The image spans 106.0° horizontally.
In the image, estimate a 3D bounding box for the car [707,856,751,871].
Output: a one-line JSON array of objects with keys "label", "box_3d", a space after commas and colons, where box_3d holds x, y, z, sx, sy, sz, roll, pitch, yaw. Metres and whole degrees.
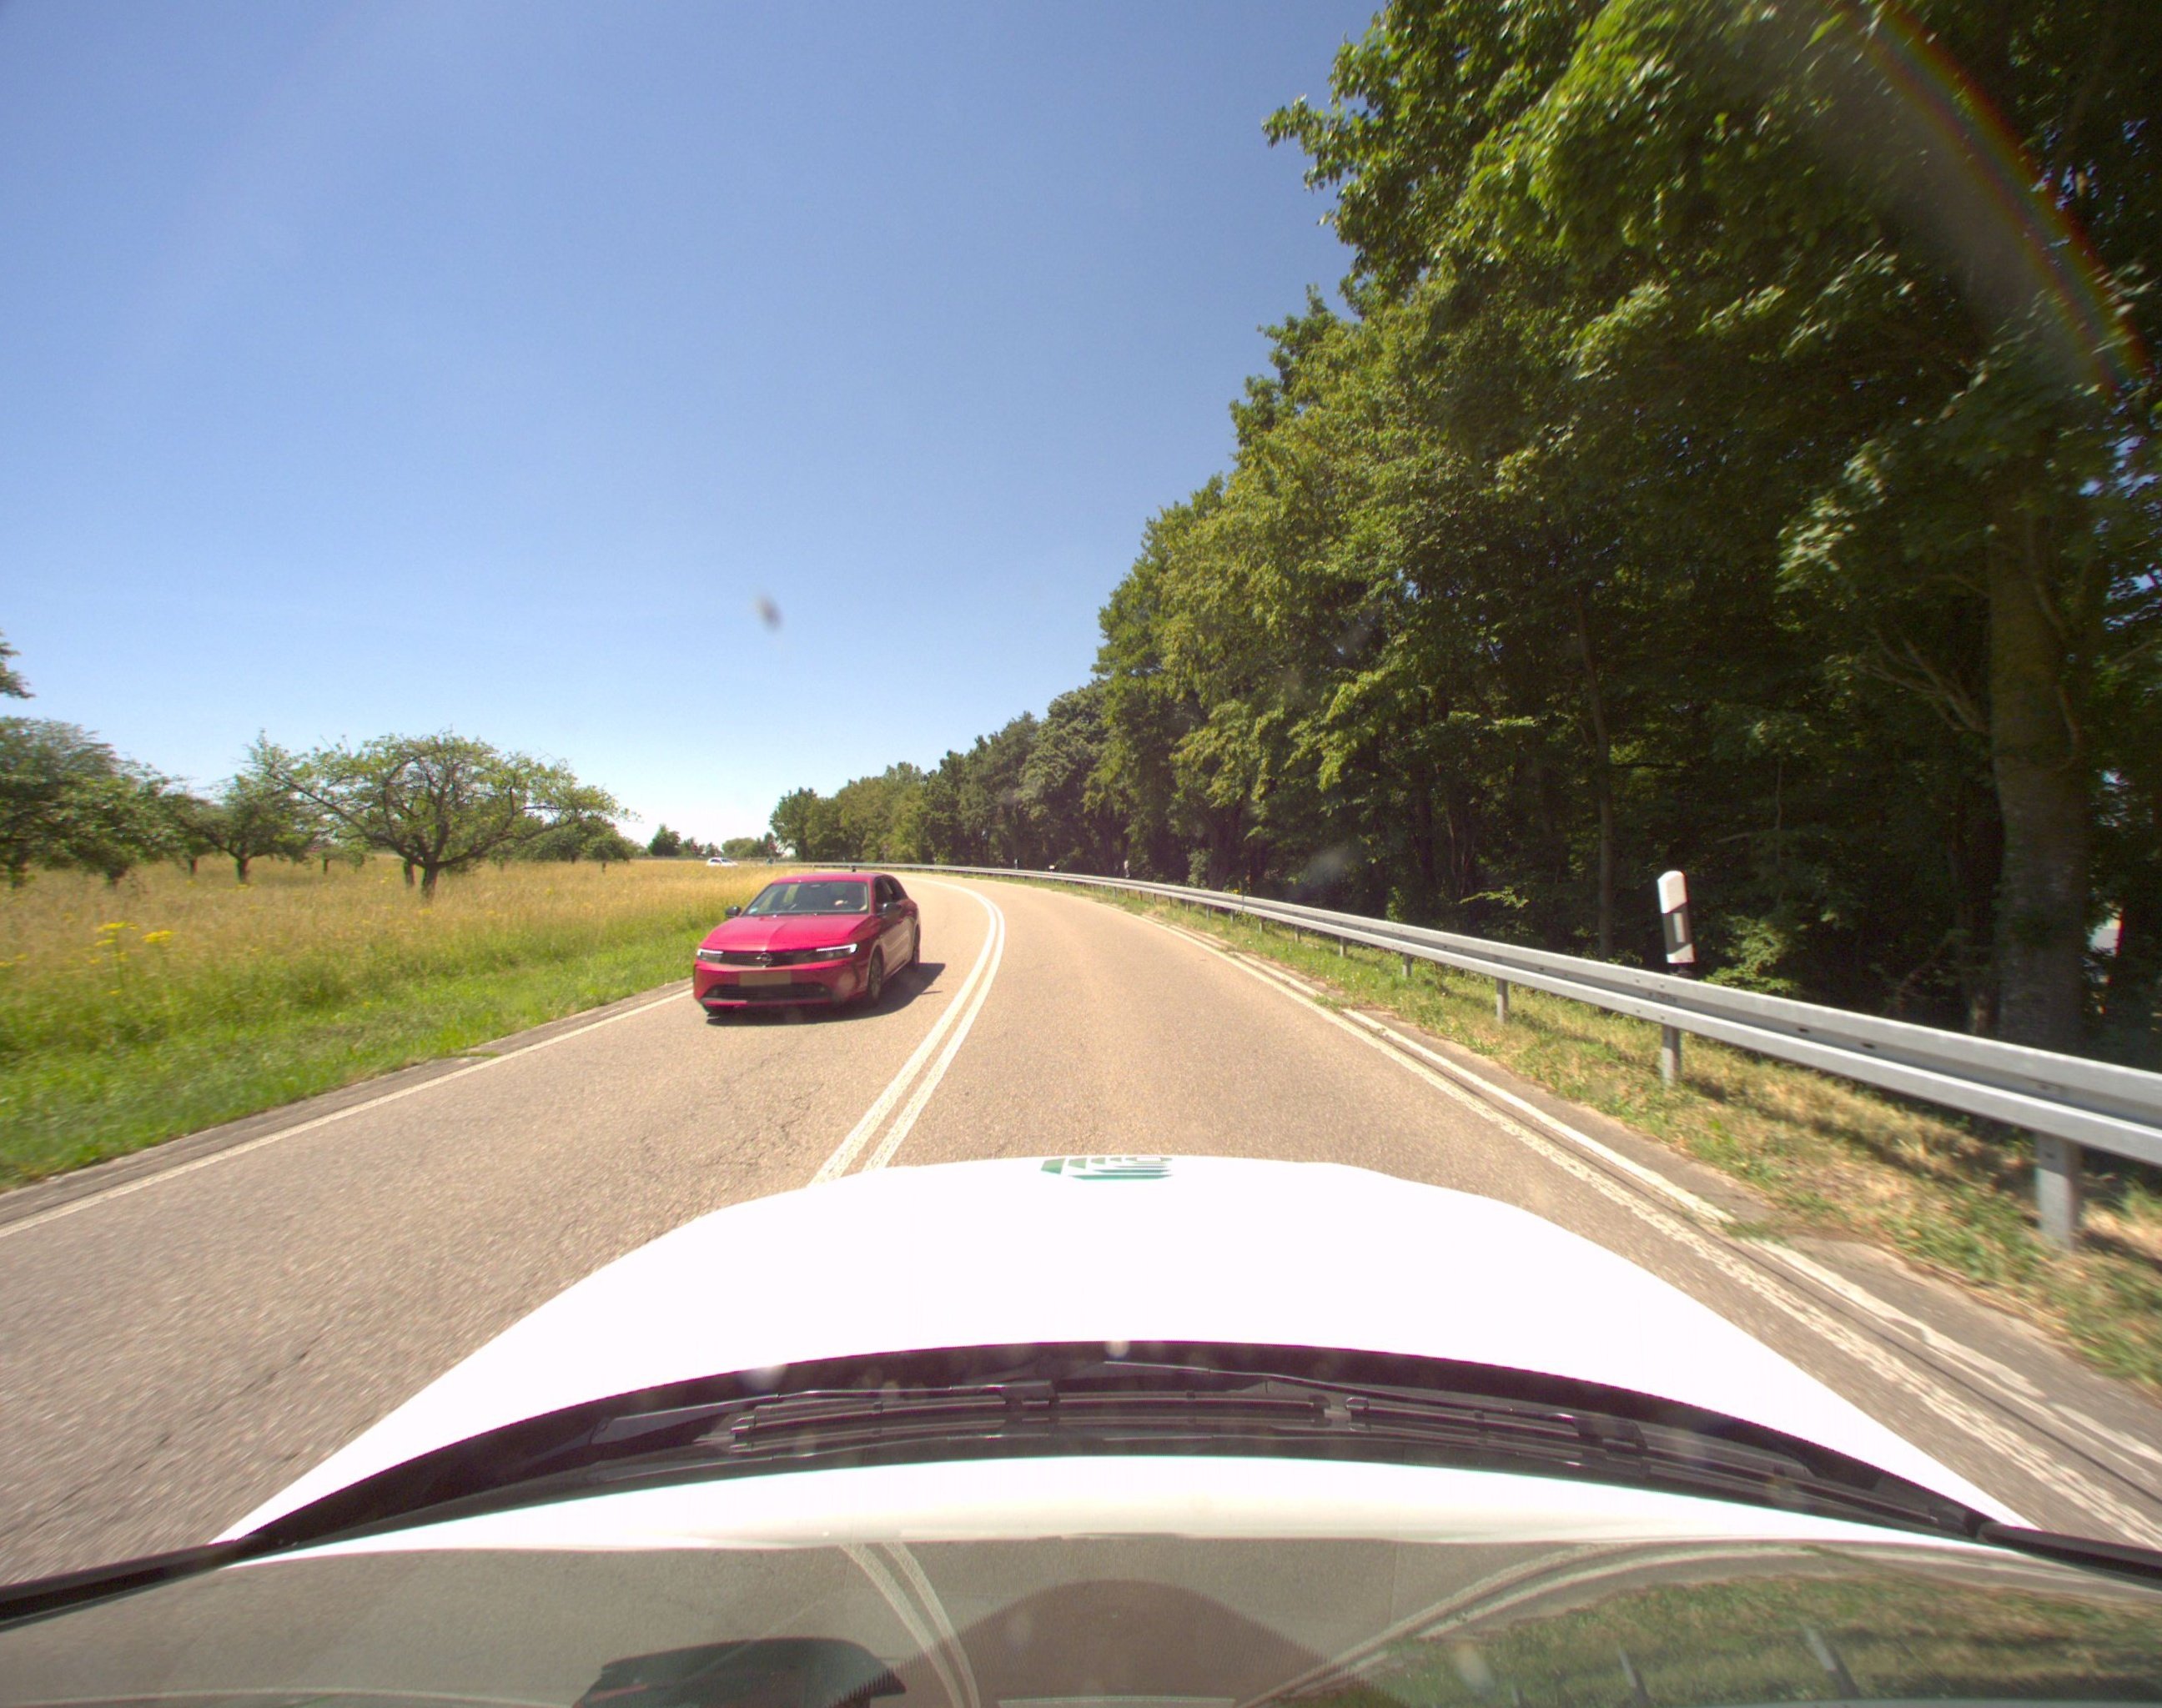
[{"label": "car", "box_3d": [-38.221, 0.989, 88.458, 4.131, 1.507, 1.834, 1, 0, 11]}]

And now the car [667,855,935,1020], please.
[{"label": "car", "box_3d": [-3.094, 0.888, 10.050, 1.818, 1.458, 4.396, -4, -2, -2]}]
